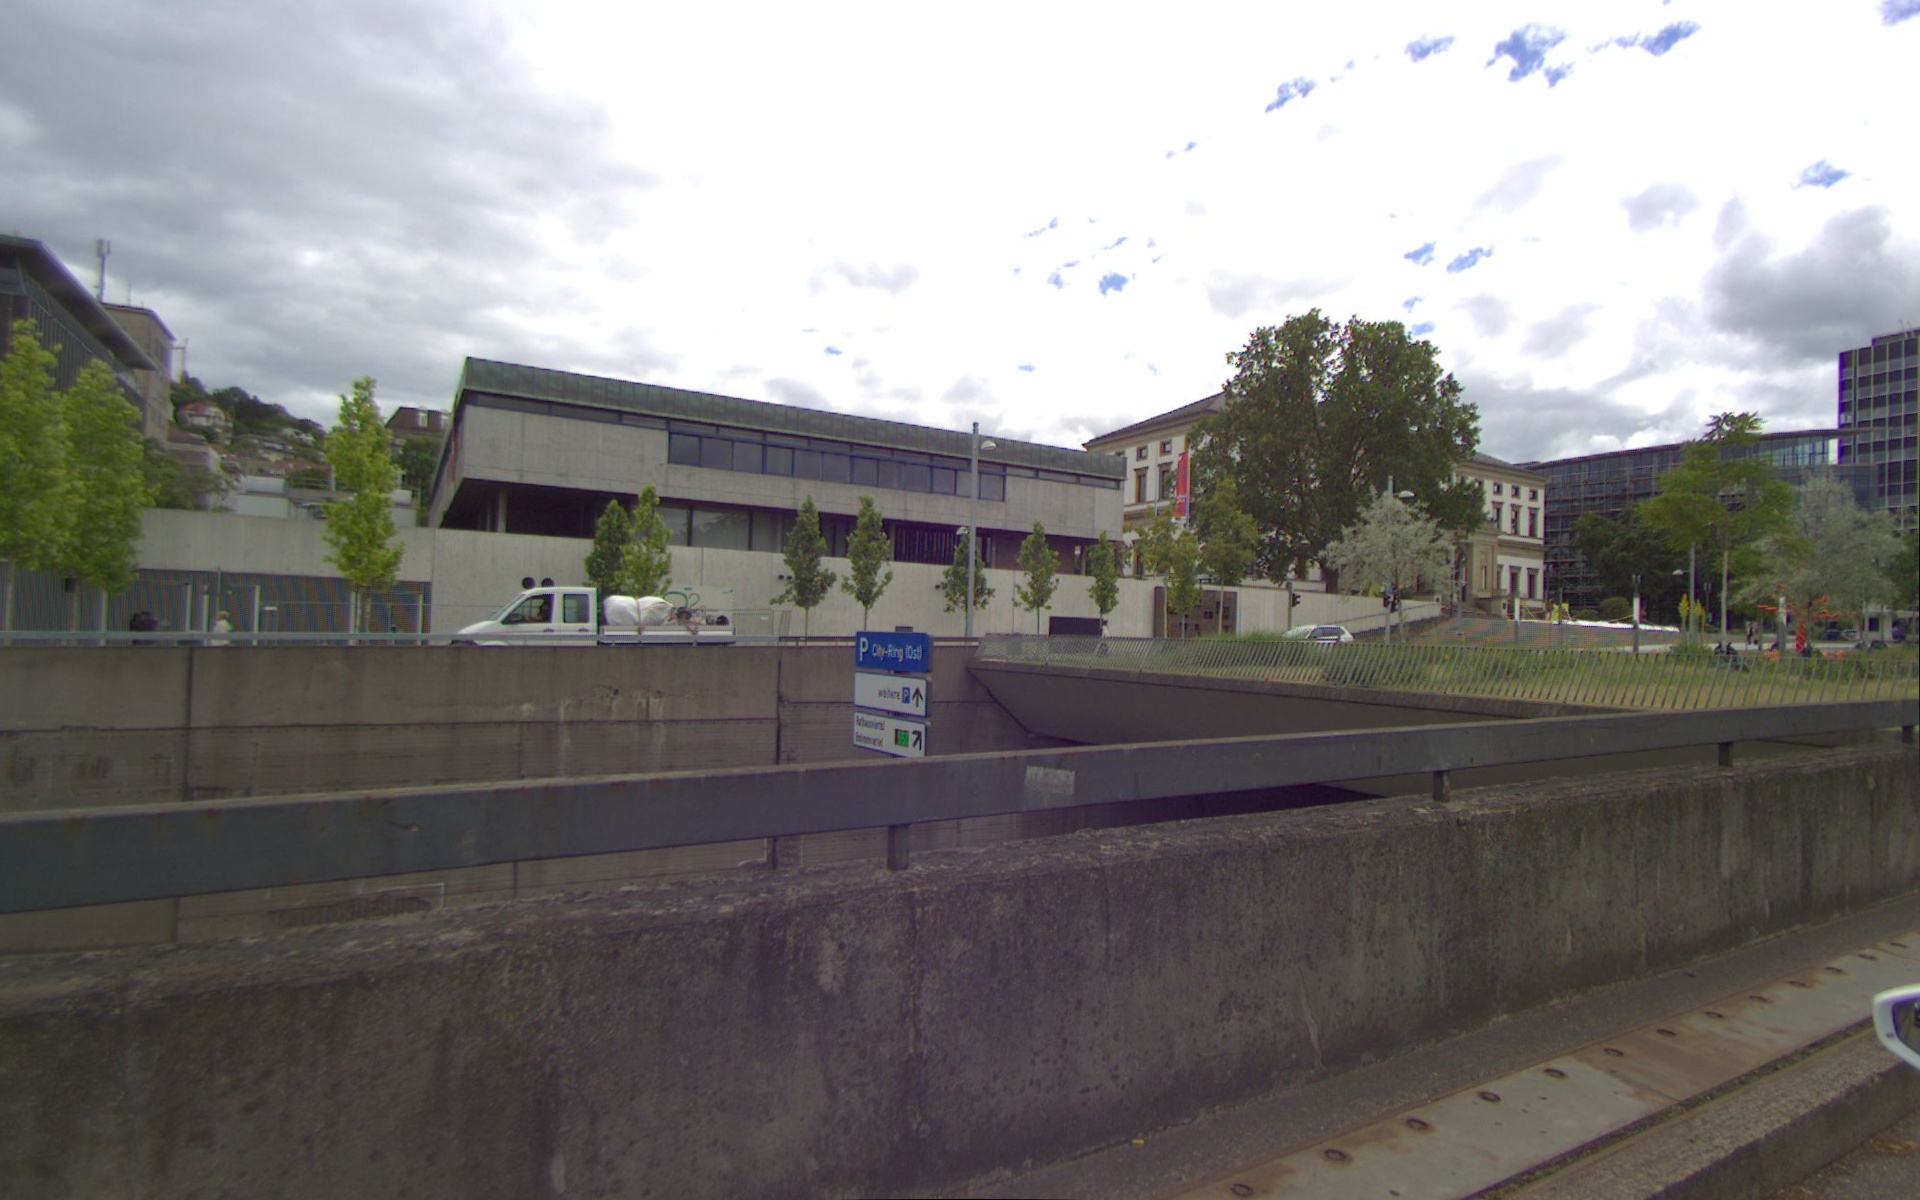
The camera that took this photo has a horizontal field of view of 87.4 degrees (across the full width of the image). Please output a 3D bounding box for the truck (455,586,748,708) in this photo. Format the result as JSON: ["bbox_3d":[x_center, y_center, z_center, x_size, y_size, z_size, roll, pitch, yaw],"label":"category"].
[{"bbox_3d":[-9.327,1.144,26.390,6.990,2.854,2.454,1,0,-29],"label":"truck"}]

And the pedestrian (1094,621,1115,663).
[{"bbox_3d":[6.131,1.781,42.558,0.655,1.757,0.537,1,0,-30],"label":"pedestrian"}]

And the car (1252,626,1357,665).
[{"bbox_3d":[14.935,1.925,43.512,4.555,1.595,1.712,1,0,-29],"label":"car"}]

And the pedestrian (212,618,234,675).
[{"bbox_3d":[-20.375,1.270,27.773,0.457,1.542,0.424,1,0,-36],"label":"pedestrian"}]

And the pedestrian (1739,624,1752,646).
[{"bbox_3d":[59.790,2.688,76.478,0.643,1.671,0.521,1,0,-31],"label":"pedestrian"}]

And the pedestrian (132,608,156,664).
[{"bbox_3d":[-23.018,1.009,28.338,0.457,1.542,0.458,1,0,-36],"label":"pedestrian"}]
